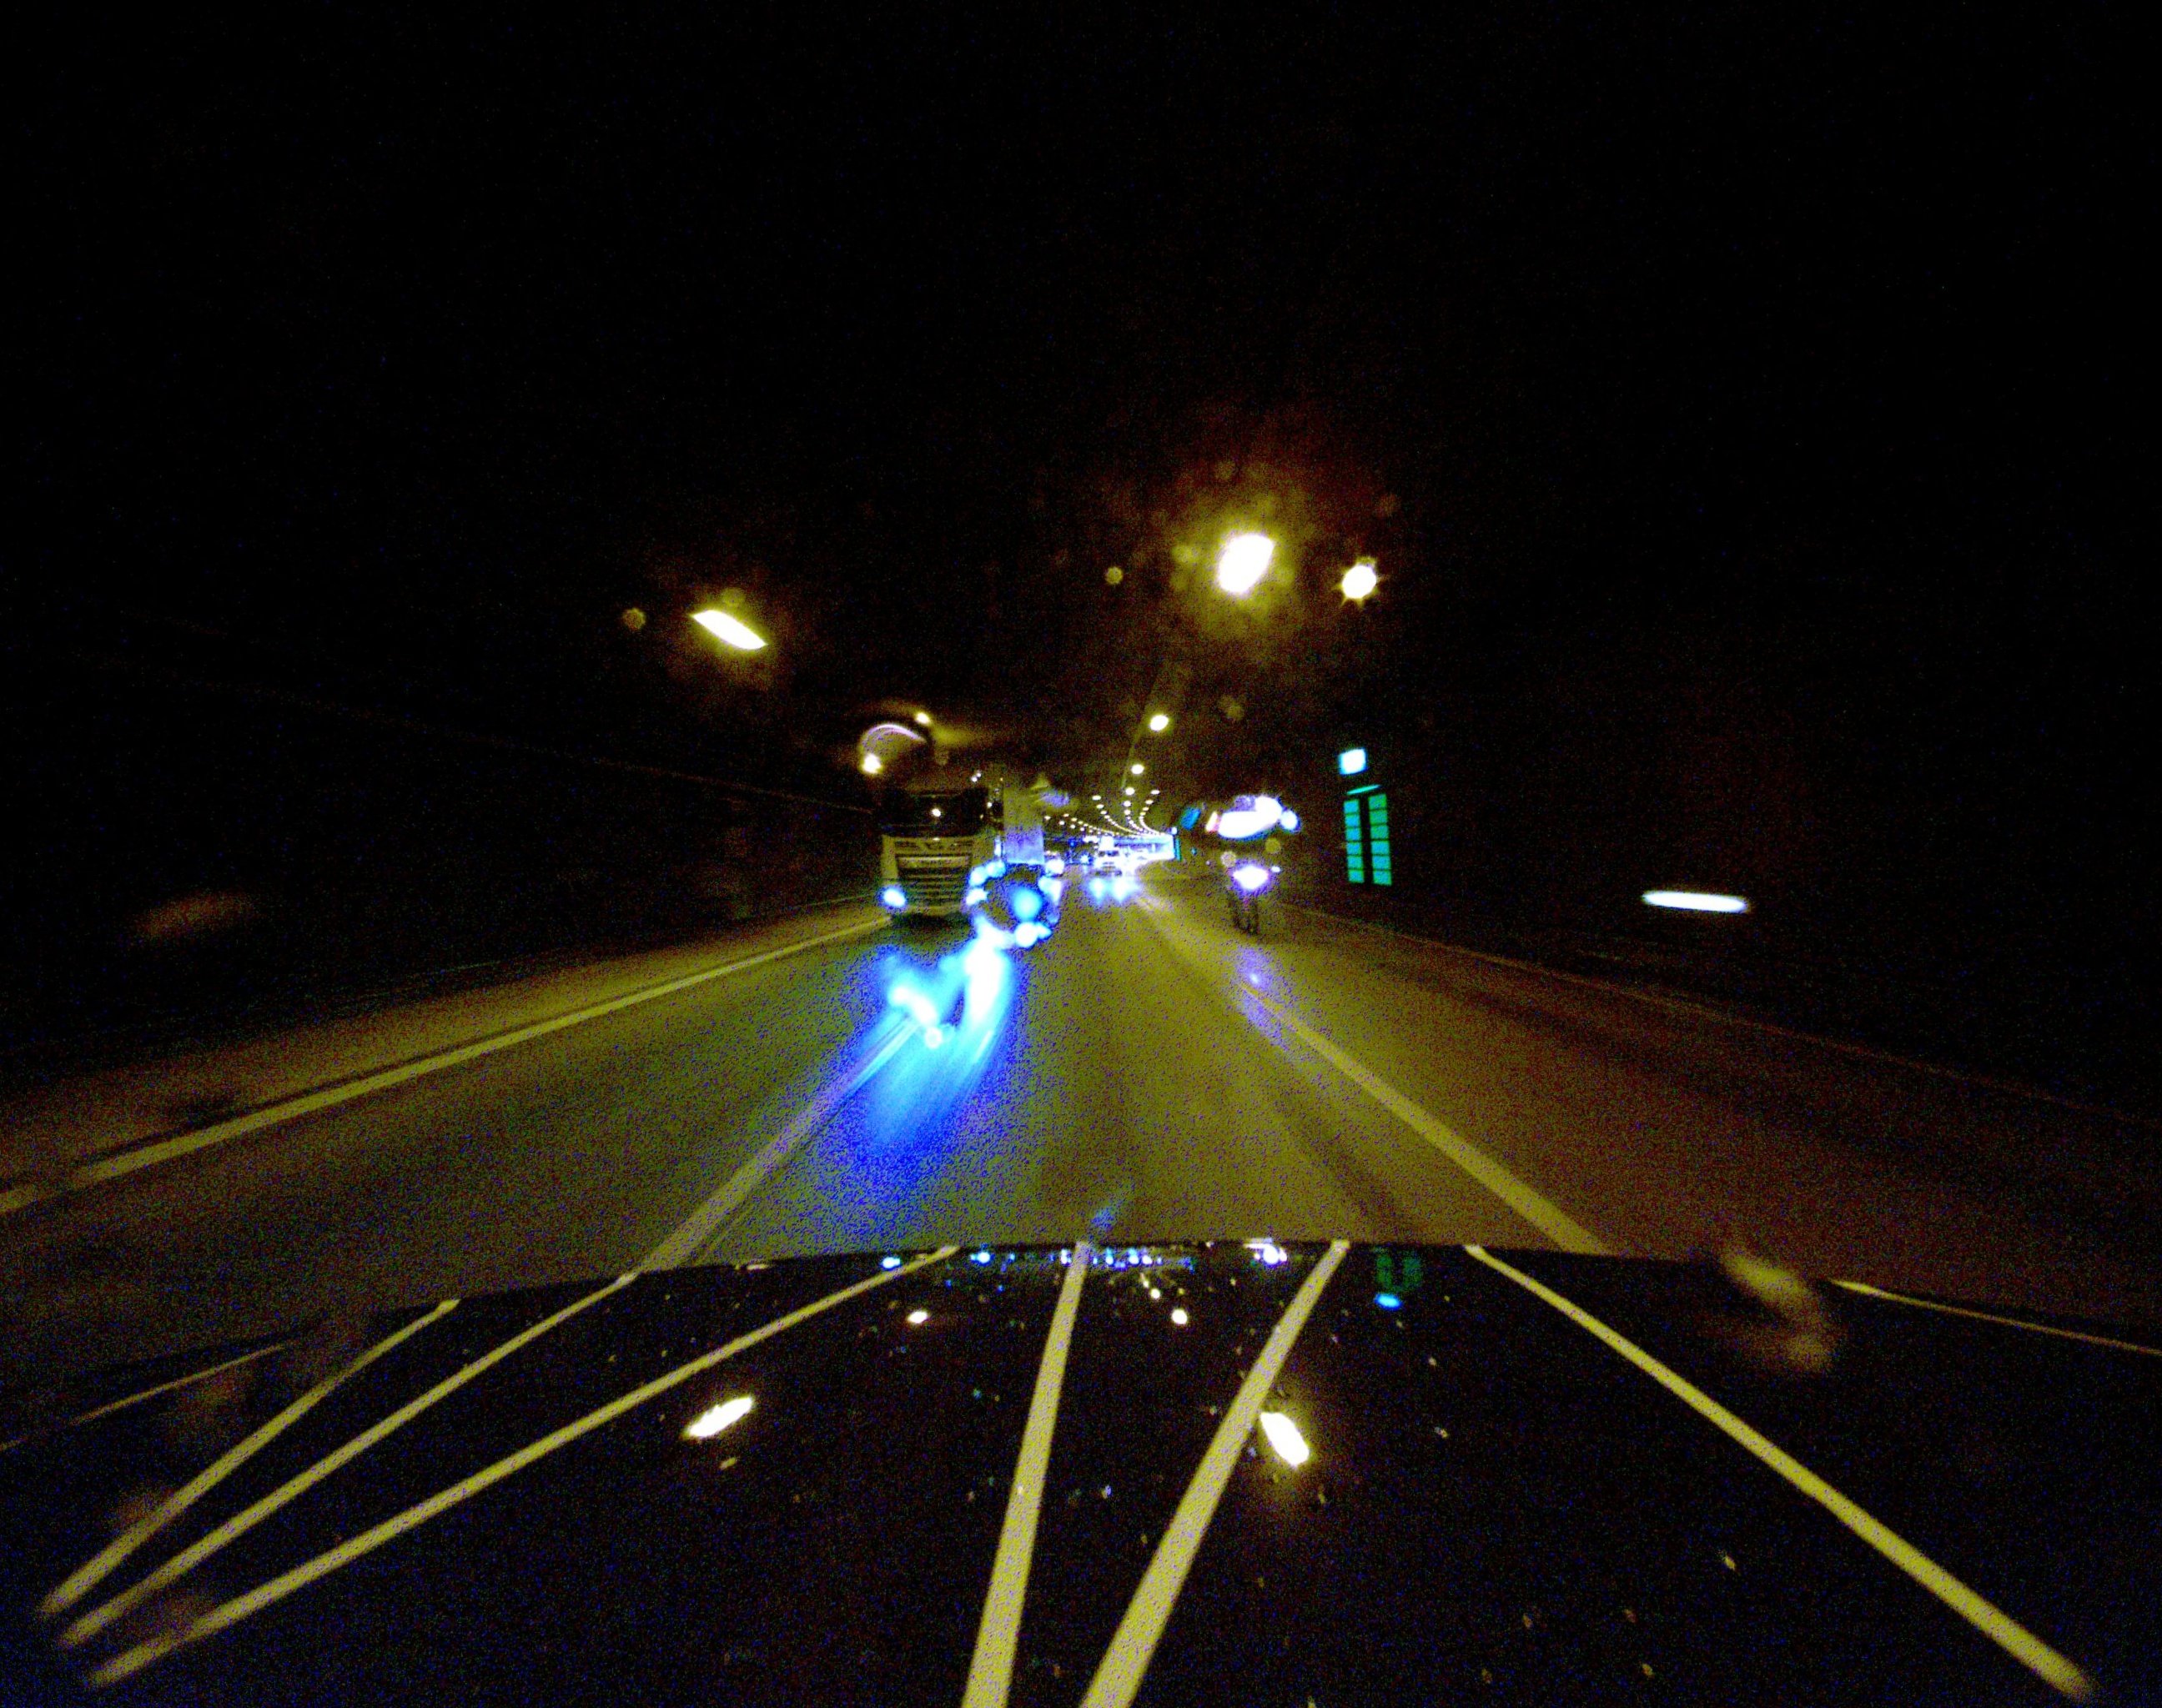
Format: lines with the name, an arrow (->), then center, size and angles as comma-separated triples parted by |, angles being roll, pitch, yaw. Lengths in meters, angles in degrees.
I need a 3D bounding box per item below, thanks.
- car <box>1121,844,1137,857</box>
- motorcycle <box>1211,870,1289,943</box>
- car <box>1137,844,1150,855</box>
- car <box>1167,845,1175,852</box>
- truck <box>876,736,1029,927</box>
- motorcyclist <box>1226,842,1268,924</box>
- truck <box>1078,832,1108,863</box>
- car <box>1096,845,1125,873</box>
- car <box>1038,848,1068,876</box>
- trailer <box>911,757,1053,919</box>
car -> 7.045, -0.560, 111.666 | 1.997, 1.788, 4.001 | -3, 1, 7
motorcycle -> 3.100, 0.930, 14.202 | 1.055, 1.151, 2.428 | -1, 1, 4
car -> 11.400, -0.861, 139.214 | 1.997, 1.788, 4.002 | -3, 1, 9
car -> 25.078, -1.669, 211.893 | 1.997, 1.788, 4.002 | -3, 1, 10
truck -> -3.072, -0.517, 19.929 | 2.652, 4.139, 6.005 | -2, 1, 2
motorcyclist -> 3.119, 0.531, 14.309 | 0.628, 1.480, 0.891 | -1, 1, 4
truck -> 1.657, -0.952, 100.804 | 2.899, 3.819, 9.000 | -3, 1, 7
car -> 2.152, 0.360, 55.169 | 1.998, 1.890, 4.000 | -2, 0, 3
car -> -1.933, 0.533, 52.794 | 1.839, 1.849, 4.287 | -1, 1, 0
trailer -> -2.867, -0.473, 26.997 | 2.627, 4.139, 14.001 | -3, 0, 2
